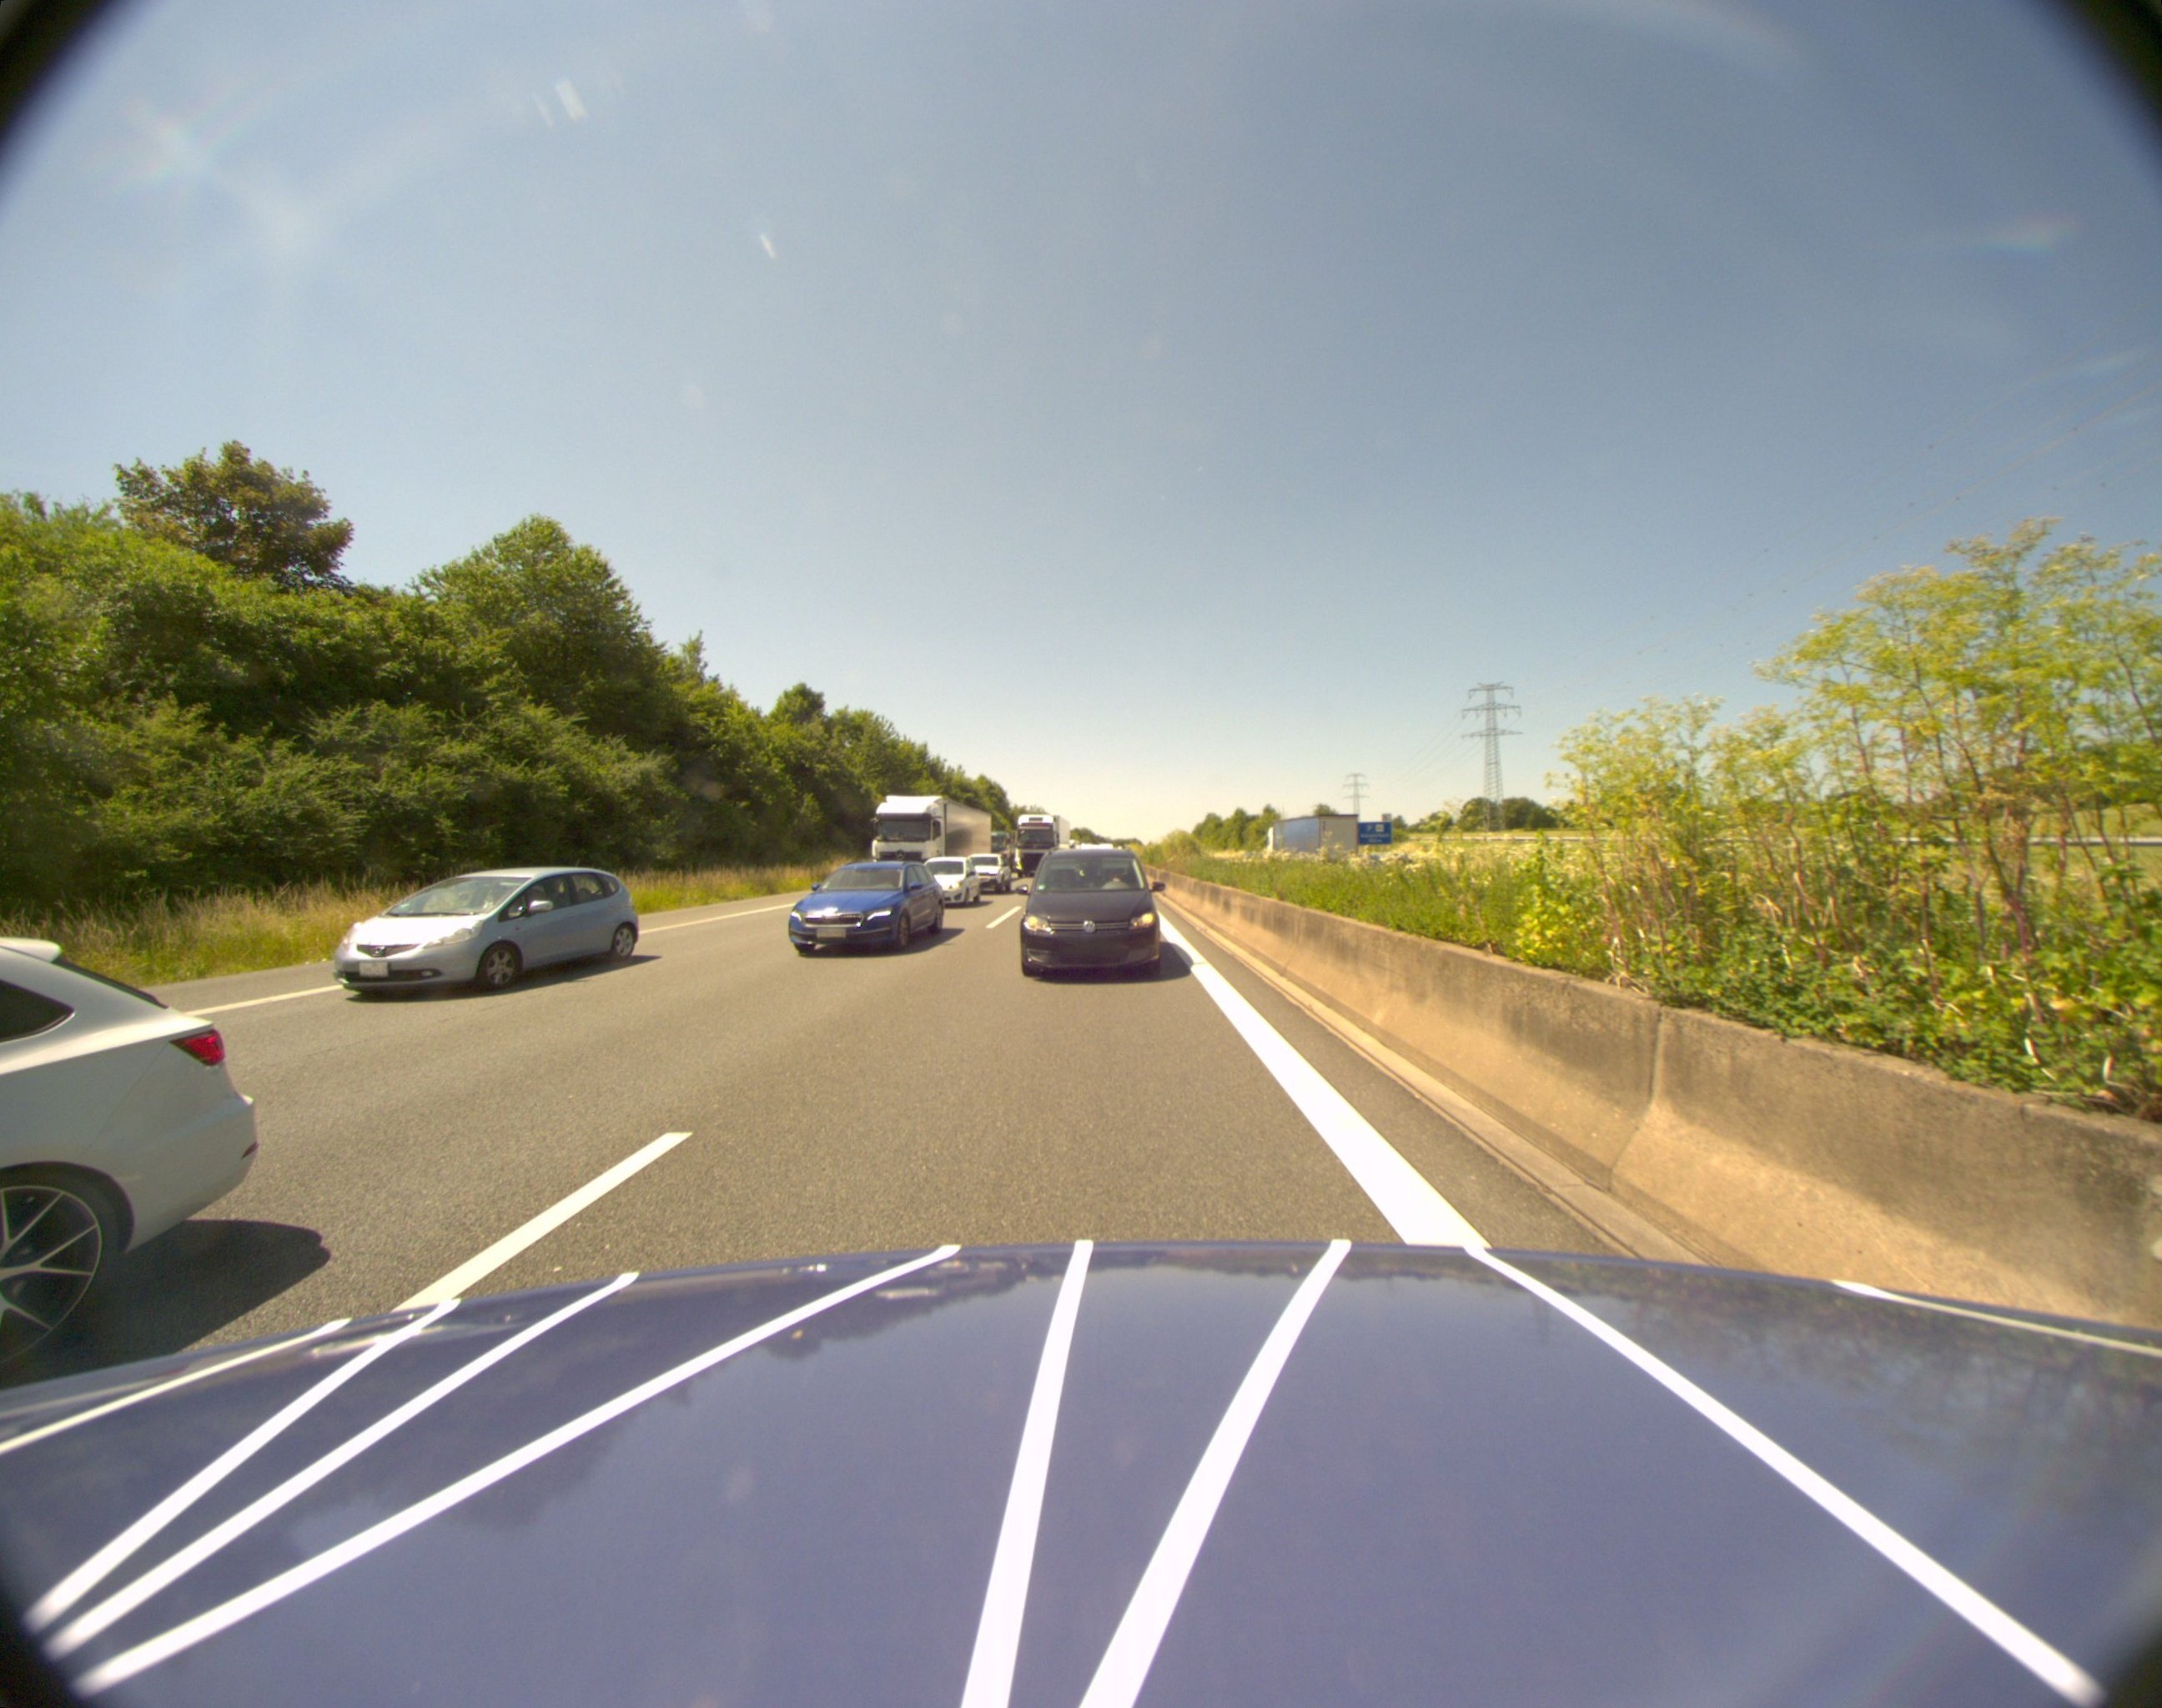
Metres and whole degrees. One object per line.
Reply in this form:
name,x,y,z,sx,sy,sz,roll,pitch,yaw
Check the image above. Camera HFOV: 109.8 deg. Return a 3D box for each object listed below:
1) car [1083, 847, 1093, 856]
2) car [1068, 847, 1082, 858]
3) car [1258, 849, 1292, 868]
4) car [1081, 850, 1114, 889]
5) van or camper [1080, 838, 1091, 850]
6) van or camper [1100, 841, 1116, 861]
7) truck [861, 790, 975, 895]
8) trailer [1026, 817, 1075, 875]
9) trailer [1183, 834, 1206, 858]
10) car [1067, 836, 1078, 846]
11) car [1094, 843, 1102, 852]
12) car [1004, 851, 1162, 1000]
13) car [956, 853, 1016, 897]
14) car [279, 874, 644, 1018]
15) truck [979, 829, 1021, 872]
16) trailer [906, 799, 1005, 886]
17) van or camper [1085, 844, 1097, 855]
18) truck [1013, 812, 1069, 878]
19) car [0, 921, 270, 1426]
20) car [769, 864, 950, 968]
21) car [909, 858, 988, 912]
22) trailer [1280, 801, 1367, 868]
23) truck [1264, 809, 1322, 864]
car,1.357,-0.494,138.361,1.652,1.636,4.000,-1,1,3
car,-0.762,-0.153,98.597,1.650,1.336,3.381,-1,1,3
car,13.320,0.294,52.348,1.539,1.231,3.393,-1,1,1
car,0.791,0.661,34.869,1.357,1.630,2.994,-3,1,3
van or camper,1.137,-2.526,191.579,2.745,2.680,5.363,-1,1,2
van or camper,3.491,-0.398,97.076,1.956,2.368,4.037,-3,1,3
truck,-7.063,-0.507,34.412,2.879,4.133,8.475,-1,1,3
trailer,-2.180,-0.610,57.829,2.776,3.951,9.156,-1,1,3
trailer,20.786,-1.561,139.429,2.828,4.182,10.684,-3,1,2
car,-1.700,-2.579,152.389,1.998,2.002,4.000,-1,1,2
car,4.311,-1.638,194.410,1.998,2.302,4.229,-1,1,2
car,0.107,0.805,11.230,1.758,1.571,5.291,-1,1,2
car,-3.671,0.778,30.073,1.748,1.549,3.884,0,1,2
car,-7.919,1.062,10.290,1.666,1.453,3.922,0,1,1
truck,-6.214,-0.320,59.032,2.299,3.128,5.675,-1,1,3
trailer,-6.672,-0.628,42.797,2.879,4.133,12.076,-1,1,3
van or camper,1.985,-0.956,154.926,2.189,2.018,4.364,-1,1,3
truck,-2.510,-0.590,50.532,2.750,3.972,8.361,-1,1,3
car,-4.168,1.038,0.854,1.752,1.435,4.313,-1,1,2
car,-3.709,0.957,13.673,1.780,1.408,4.572,0,1,2
car,-3.972,0.883,23.336,1.609,1.426,3.809,0,1,2
trailer,16.999,-1.310,54.197,3.019,4.203,10.981,-1,1,2
truck,17.222,-1.415,62.107,3.019,4.203,6.686,-1,1,2
